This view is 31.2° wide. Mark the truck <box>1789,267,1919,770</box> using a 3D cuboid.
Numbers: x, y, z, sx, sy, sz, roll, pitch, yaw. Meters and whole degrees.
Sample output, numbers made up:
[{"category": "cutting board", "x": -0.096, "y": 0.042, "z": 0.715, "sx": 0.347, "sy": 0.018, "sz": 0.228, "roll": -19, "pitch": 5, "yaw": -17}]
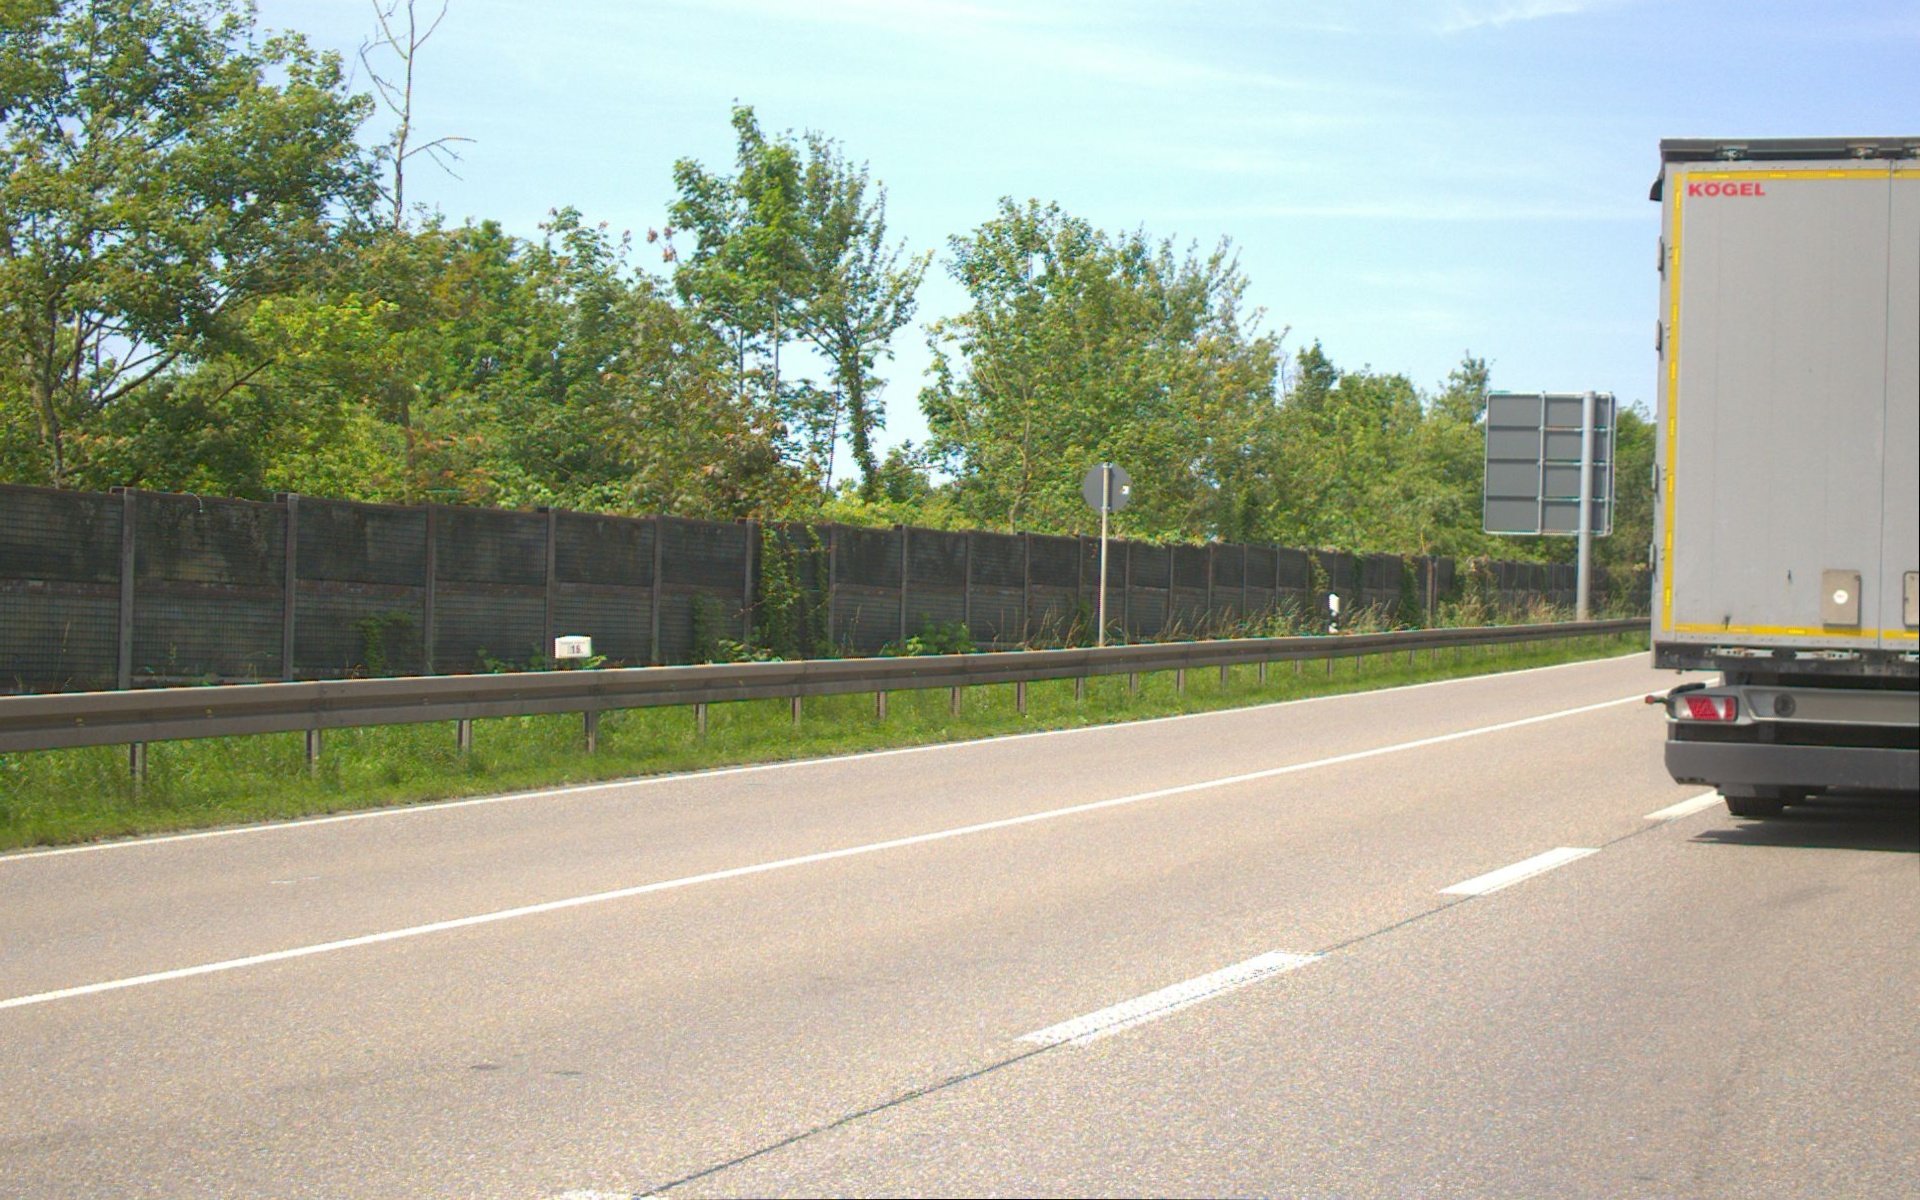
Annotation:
[{"category": "truck", "x": 9.787, "y": -0.670, "z": 31.944, "sx": 3.156, "sy": 4.210, "sz": 7.114, "roll": 1, "pitch": 0, "yaw": 20}]

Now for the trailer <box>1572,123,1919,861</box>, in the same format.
[{"category": "trailer", "x": 7.240, "y": -0.582, "z": 25.115, "sx": 3.030, "sy": 4.021, "sz": 13.337, "roll": 1, "pitch": 0, "yaw": 20}]
